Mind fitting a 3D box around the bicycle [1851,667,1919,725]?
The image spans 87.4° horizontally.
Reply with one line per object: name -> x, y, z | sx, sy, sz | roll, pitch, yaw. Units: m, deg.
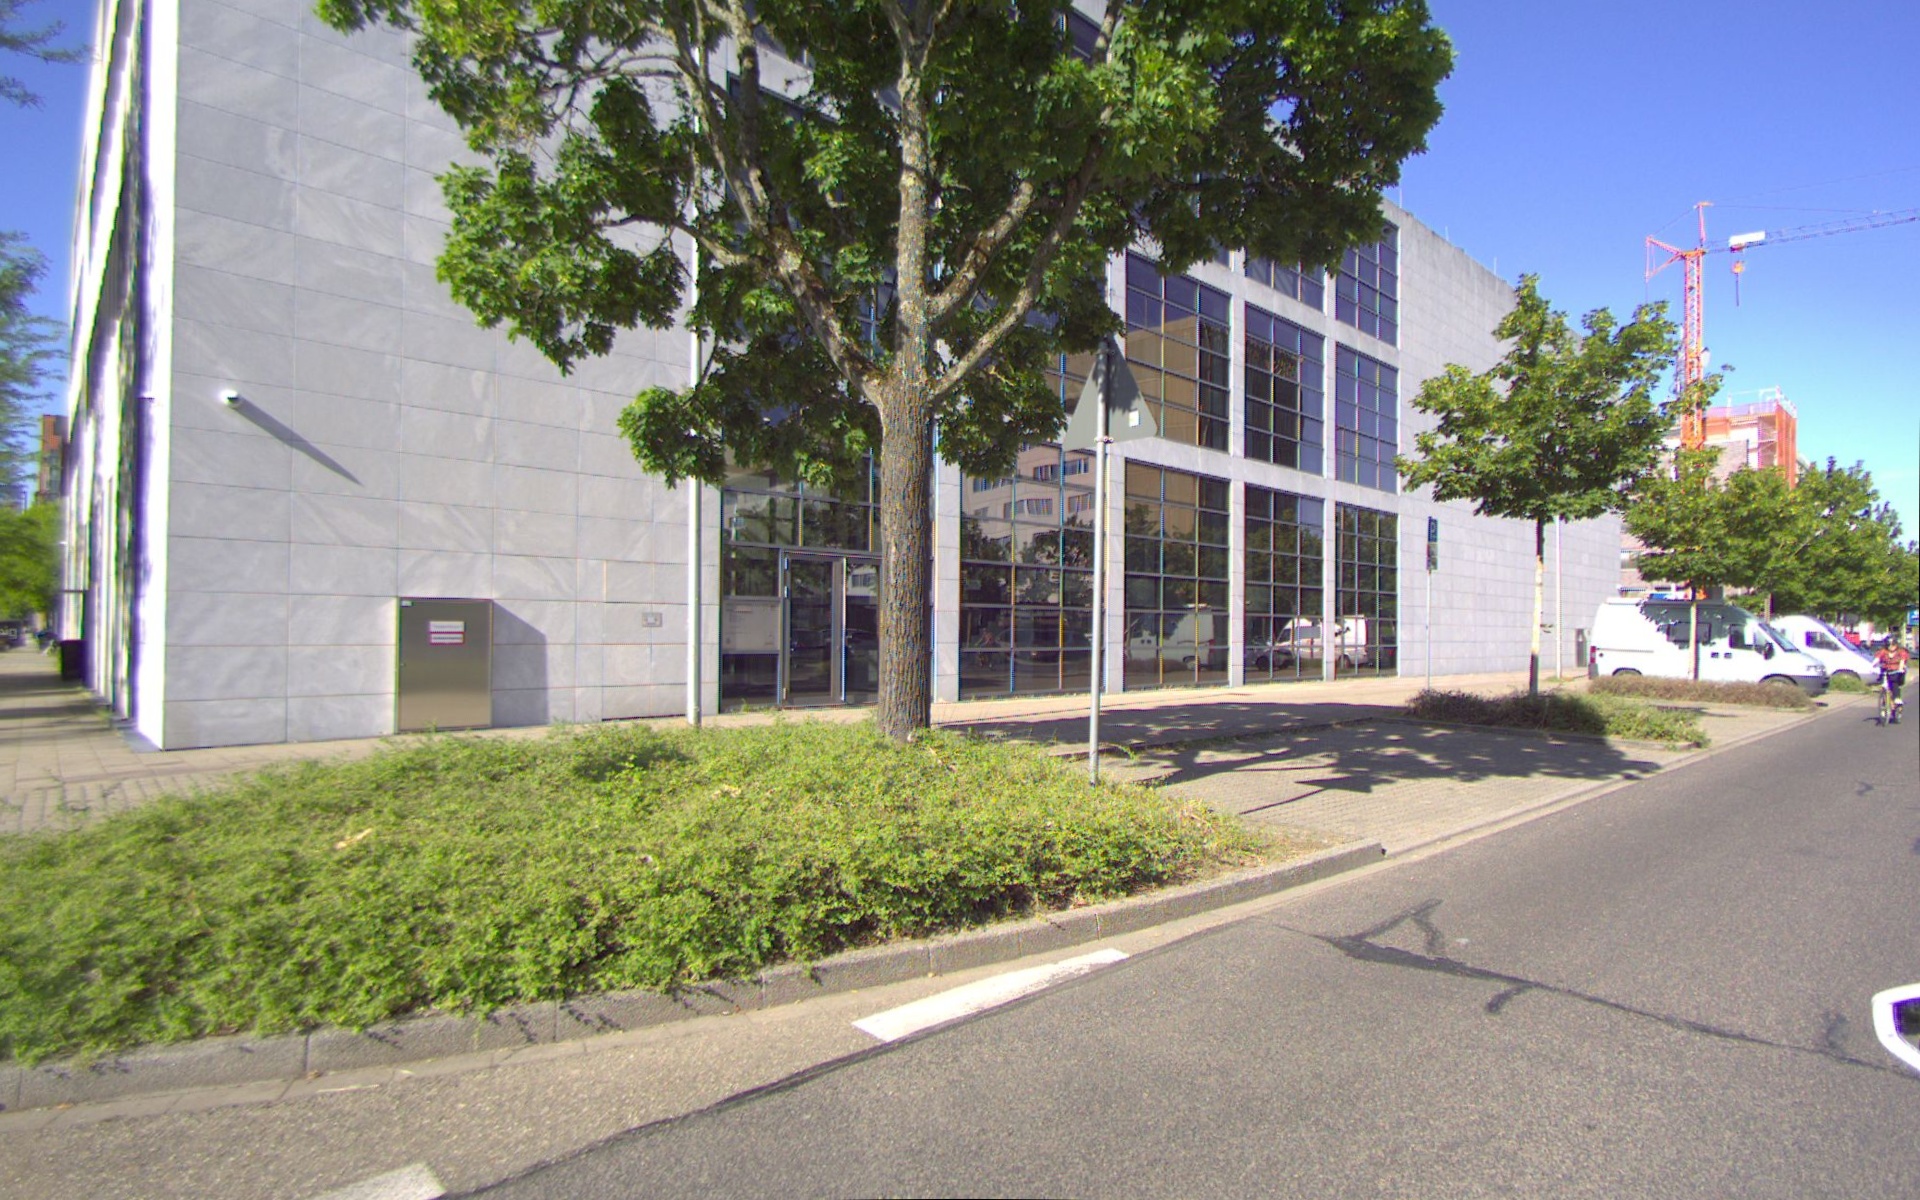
bicycle -> 17.751, 1.813, 19.270 | 1.857, 1.015, 0.750 | 2, -4, -42

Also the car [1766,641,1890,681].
car -> 38.564, 2.668, 44.678 | 4.087, 1.512, 1.857 | 1, 1, 45

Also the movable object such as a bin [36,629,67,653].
movable object such as a bin -> -64.011, 2.874, 70.773 | 1.510, 1.589, 1.332 | 0, -1, -38

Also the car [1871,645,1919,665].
car -> 74.144, 4.321, 78.514 | 4.286, 1.494, 1.806 | -2, -2, 44

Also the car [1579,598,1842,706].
car -> 19.635, 1.263, 26.503 | 2.107, 2.450, 5.201 | 2, 0, -41

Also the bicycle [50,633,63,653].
bicycle -> -55.195, 2.630, 61.364 | 0.598, 1.208, 1.706 | 0, -1, -42

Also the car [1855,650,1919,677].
car -> 63.356, 4.293, 67.875 | 1.588, 1.687, 4.221 | 1, -2, -43

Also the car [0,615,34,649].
car -> -77.328, 2.591, 79.801 | 5.455, 2.575, 1.961 | -1, 0, -44

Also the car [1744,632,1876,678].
car -> 35.476, 2.275, 41.998 | 1.813, 1.686, 3.954 | 2, -1, -39

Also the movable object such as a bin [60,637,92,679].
movable object such as a bin -> -22.724, 1.491, 25.827 | 0.591, 1.054, 0.536 | 0, -1, -45

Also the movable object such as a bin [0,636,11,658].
movable object such as a bin -> -70.563, 3.422, 73.430 | 1.325, 1.589, 1.518 | -1, -1, 38

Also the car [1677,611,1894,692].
car -> 28.220, 1.669, 34.518 | 1.972, 2.442, 5.503 | 2, 0, -41

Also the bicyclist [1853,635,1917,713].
bicyclist -> 17.776, 1.407, 19.309 | 1.123, 1.450, 0.751 | 2, -4, -42
